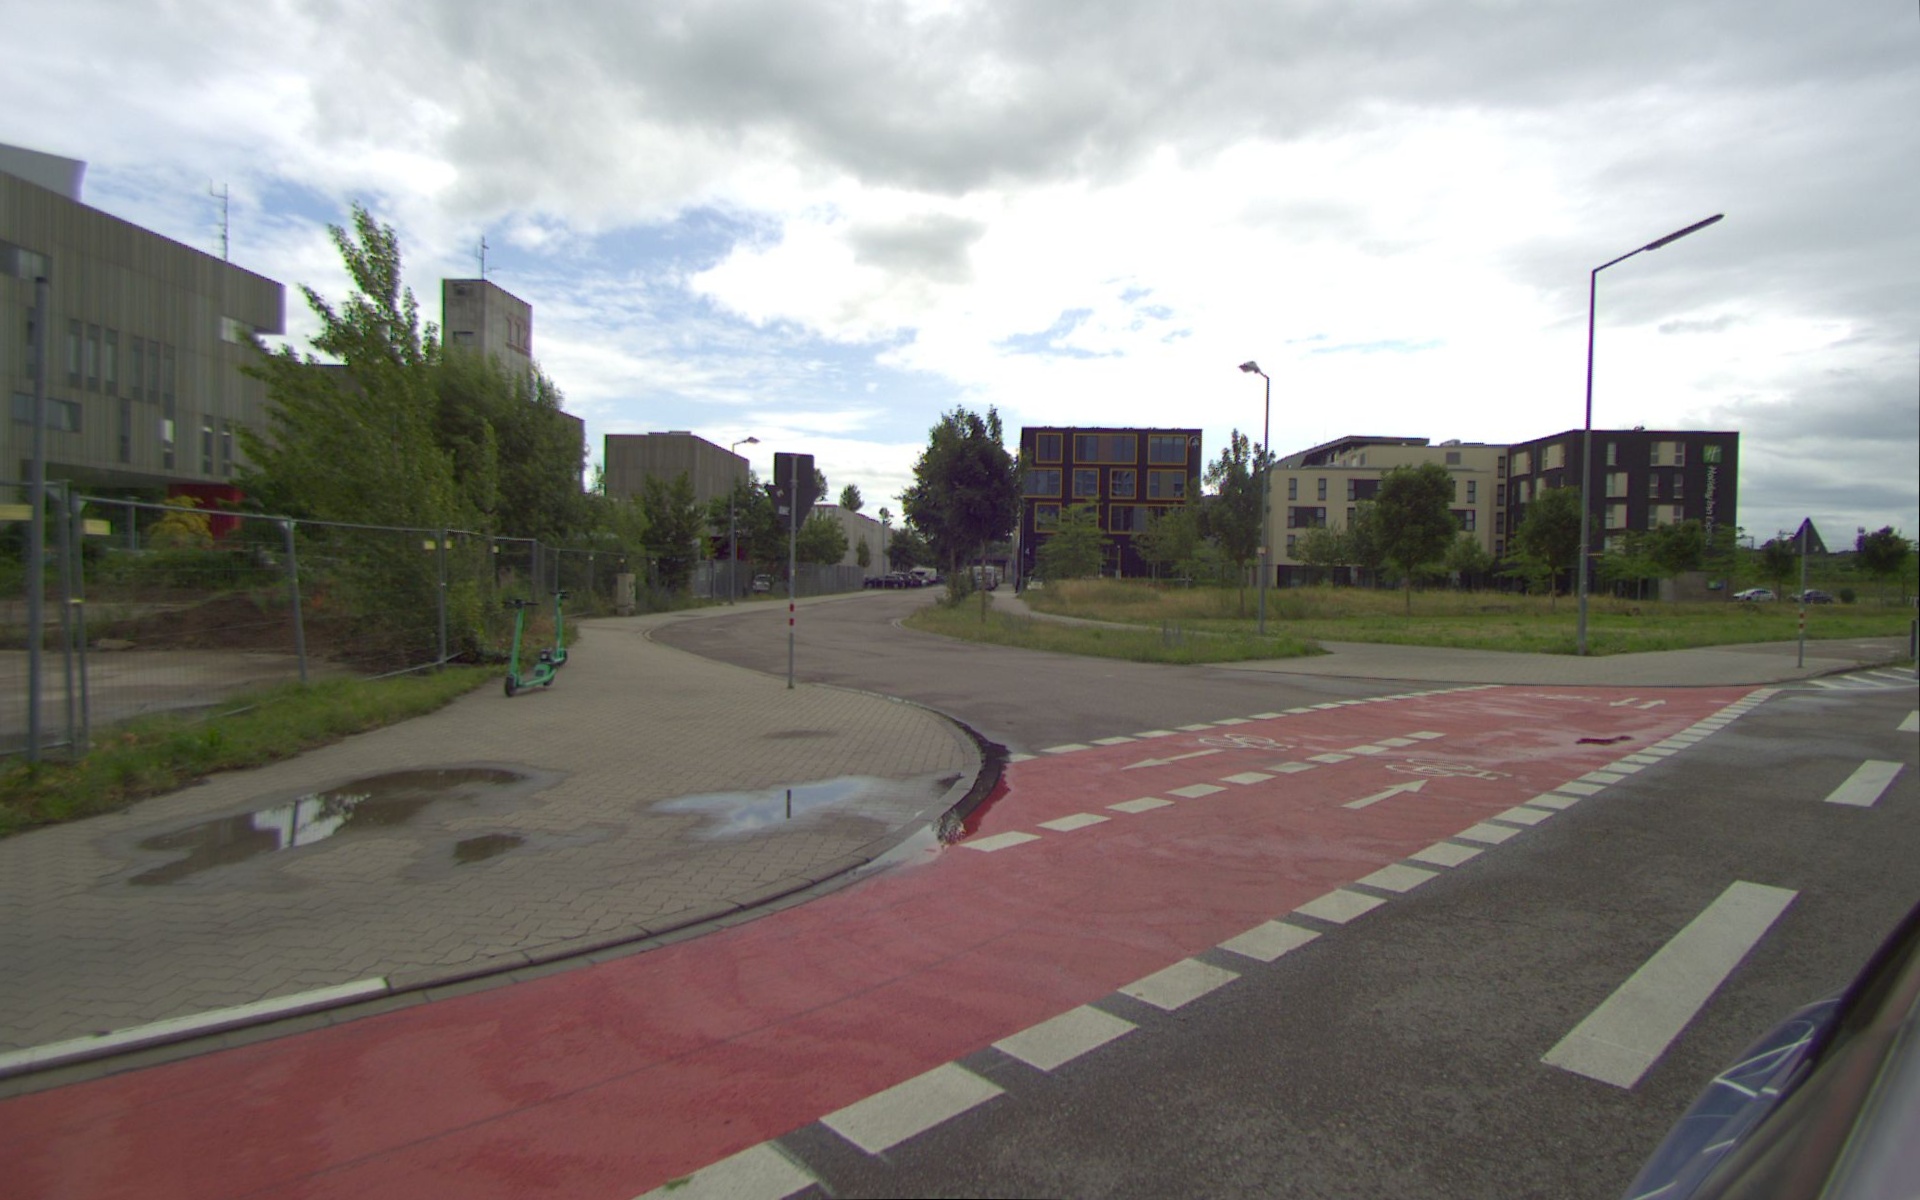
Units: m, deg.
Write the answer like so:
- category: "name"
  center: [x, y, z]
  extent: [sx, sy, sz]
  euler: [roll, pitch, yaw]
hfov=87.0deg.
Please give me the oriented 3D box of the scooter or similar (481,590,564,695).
- category: "scooter or similar"
  center: [-5.424, 0.494, 12.612]
  extent: [0.437, 1.200, 1.326]
  euler: [1, 1, 1]

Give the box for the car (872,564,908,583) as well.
- category: "car"
  center: [-7.677, -2.910, 111.293]
  extent: [3.923, 2.038, 2.001]
  euler: [1, 1, -1]

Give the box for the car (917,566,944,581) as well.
- category: "car"
  center: [-4.270, -3.814, 146.925]
  extent: [3.925, 2.038, 2.000]
  euler: [1, 1, 1]

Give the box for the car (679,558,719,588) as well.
- category: "car"
  center: [-18.464, -1.926, 71.664]
  extent: [1.961, 2.038, 4.004]
  euler: [1, 2, -3]

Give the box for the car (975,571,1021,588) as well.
- category: "car"
  center: [3.339, -1.802, 88.318]
  extent: [3.932, 1.348, 1.560]
  euler: [2, 2, 8]

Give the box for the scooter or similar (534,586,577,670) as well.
- category: "scooter or similar"
  center: [-6.146, 0.402, 15.412]
  extent: [0.436, 1.200, 1.176]
  euler: [1, 1, -14]

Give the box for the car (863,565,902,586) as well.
- category: "car"
  center: [-7.918, -2.527, 103.941]
  extent: [3.923, 2.038, 2.001]
  euler: [1, 1, -1]

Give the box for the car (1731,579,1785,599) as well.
- category: "car"
  center: [84.048, -1.165, 106.632]
  extent: [3.926, 2.038, 1.999]
  euler: [1, 2, 2]

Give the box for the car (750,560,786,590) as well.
- category: "car"
  center: [-13.656, -1.804, 72.162]
  extent: [1.961, 2.038, 4.004]
  euler: [1, 2, -3]

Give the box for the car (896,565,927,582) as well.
- category: "car"
  center: [-6.339, -3.481, 132.419]
  extent: [3.925, 2.038, 2.000]
  euler: [1, 1, 1]

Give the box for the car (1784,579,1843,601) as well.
- category: "car"
  center: [83.622, -1.023, 99.199]
  extent: [3.926, 2.038, 1.999]
  euler: [1, 2, 2]

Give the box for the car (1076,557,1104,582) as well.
- category: "car"
  center: [11.437, -2.694, 89.256]
  extent: [1.962, 2.038, 4.001]
  euler: [1, 2, 0]

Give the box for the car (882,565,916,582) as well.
- category: "car"
  center: [-7.274, -3.177, 121.169]
  extent: [3.922, 2.038, 2.001]
  euler: [1, 1, -2]
